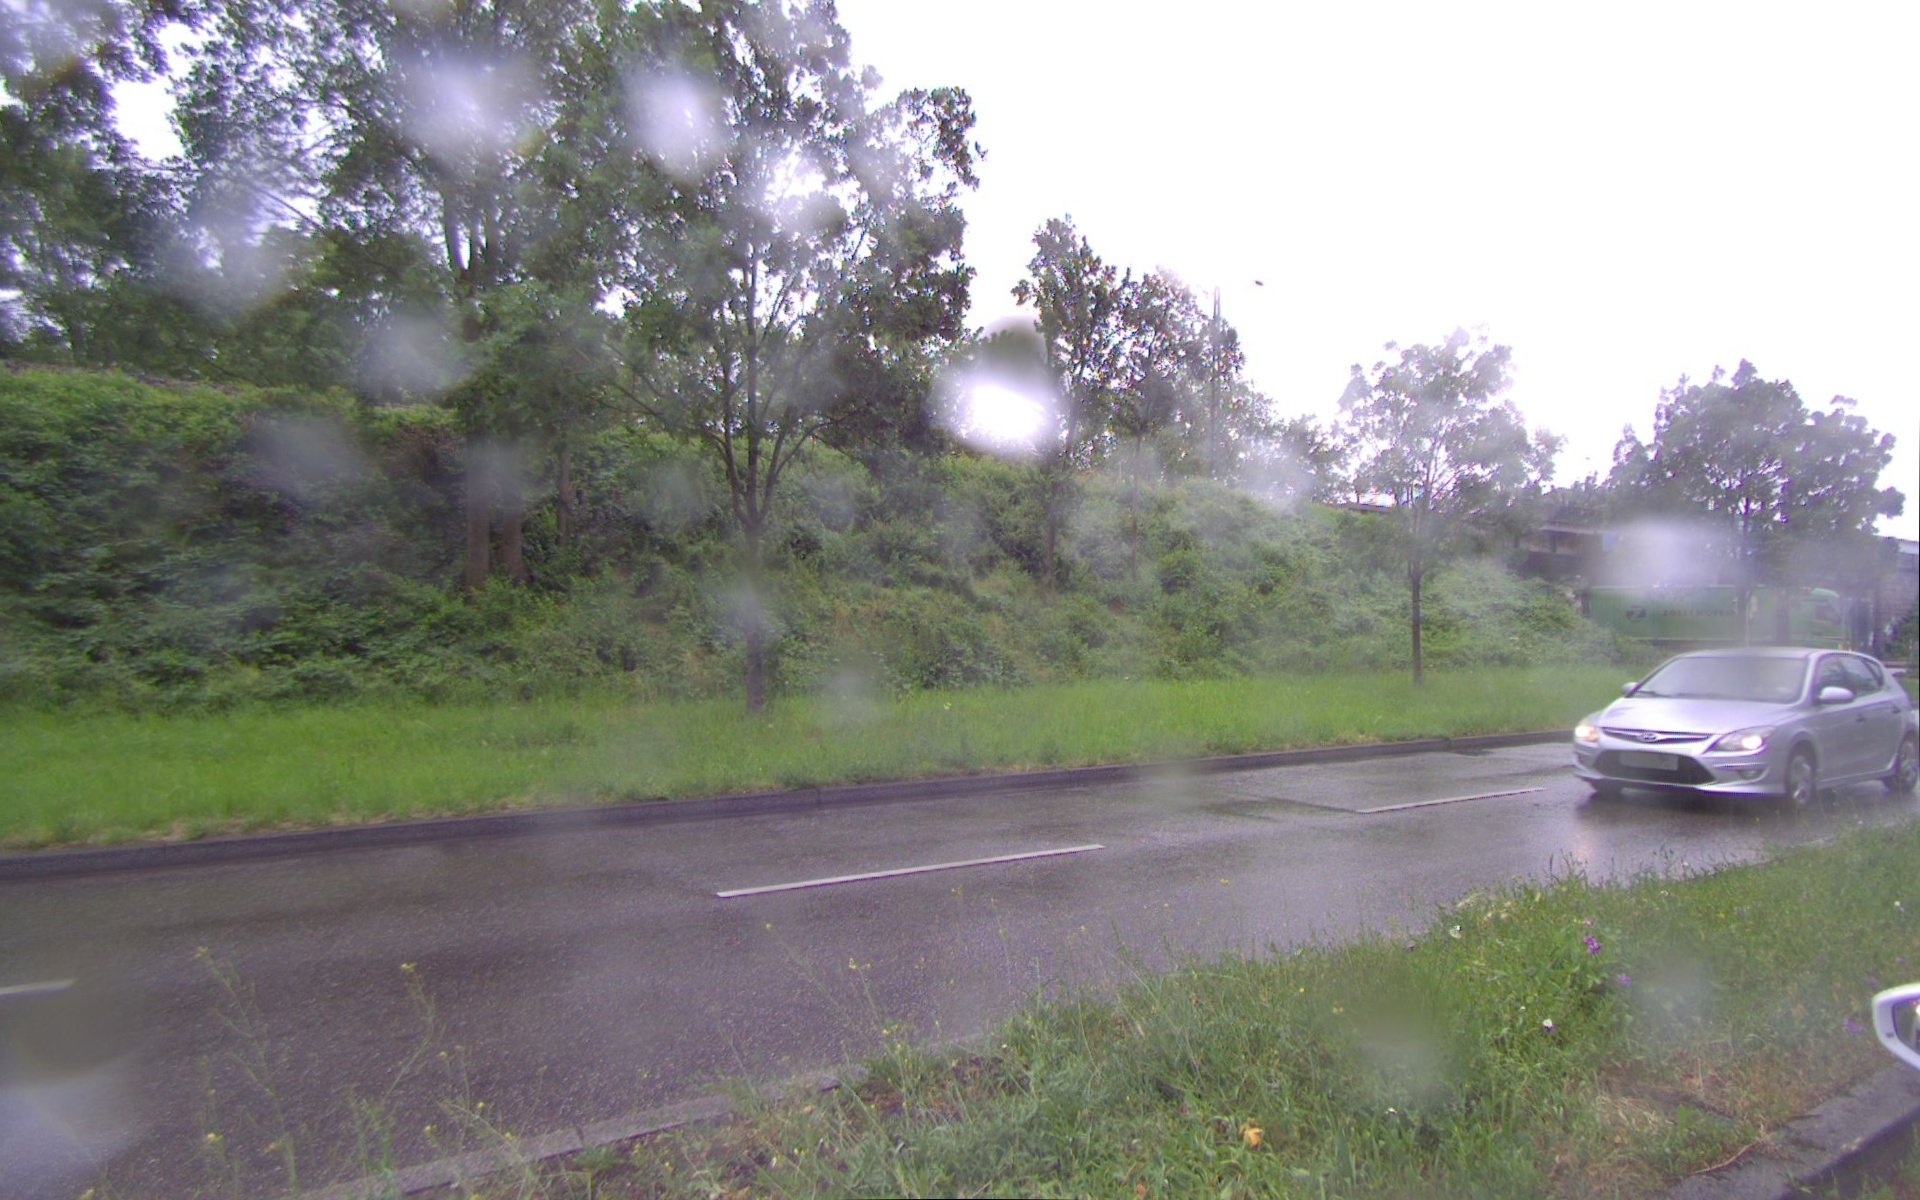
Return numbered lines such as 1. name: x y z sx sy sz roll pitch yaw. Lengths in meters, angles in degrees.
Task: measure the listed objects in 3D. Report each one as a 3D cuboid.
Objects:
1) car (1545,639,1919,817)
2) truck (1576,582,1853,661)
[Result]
1. car: 7.967 1.167 10.205 3.954 1.481 1.807 2 -4 -31
2. truck: 34.342 0.921 46.291 9.872 3.416 2.346 0 -1 25
